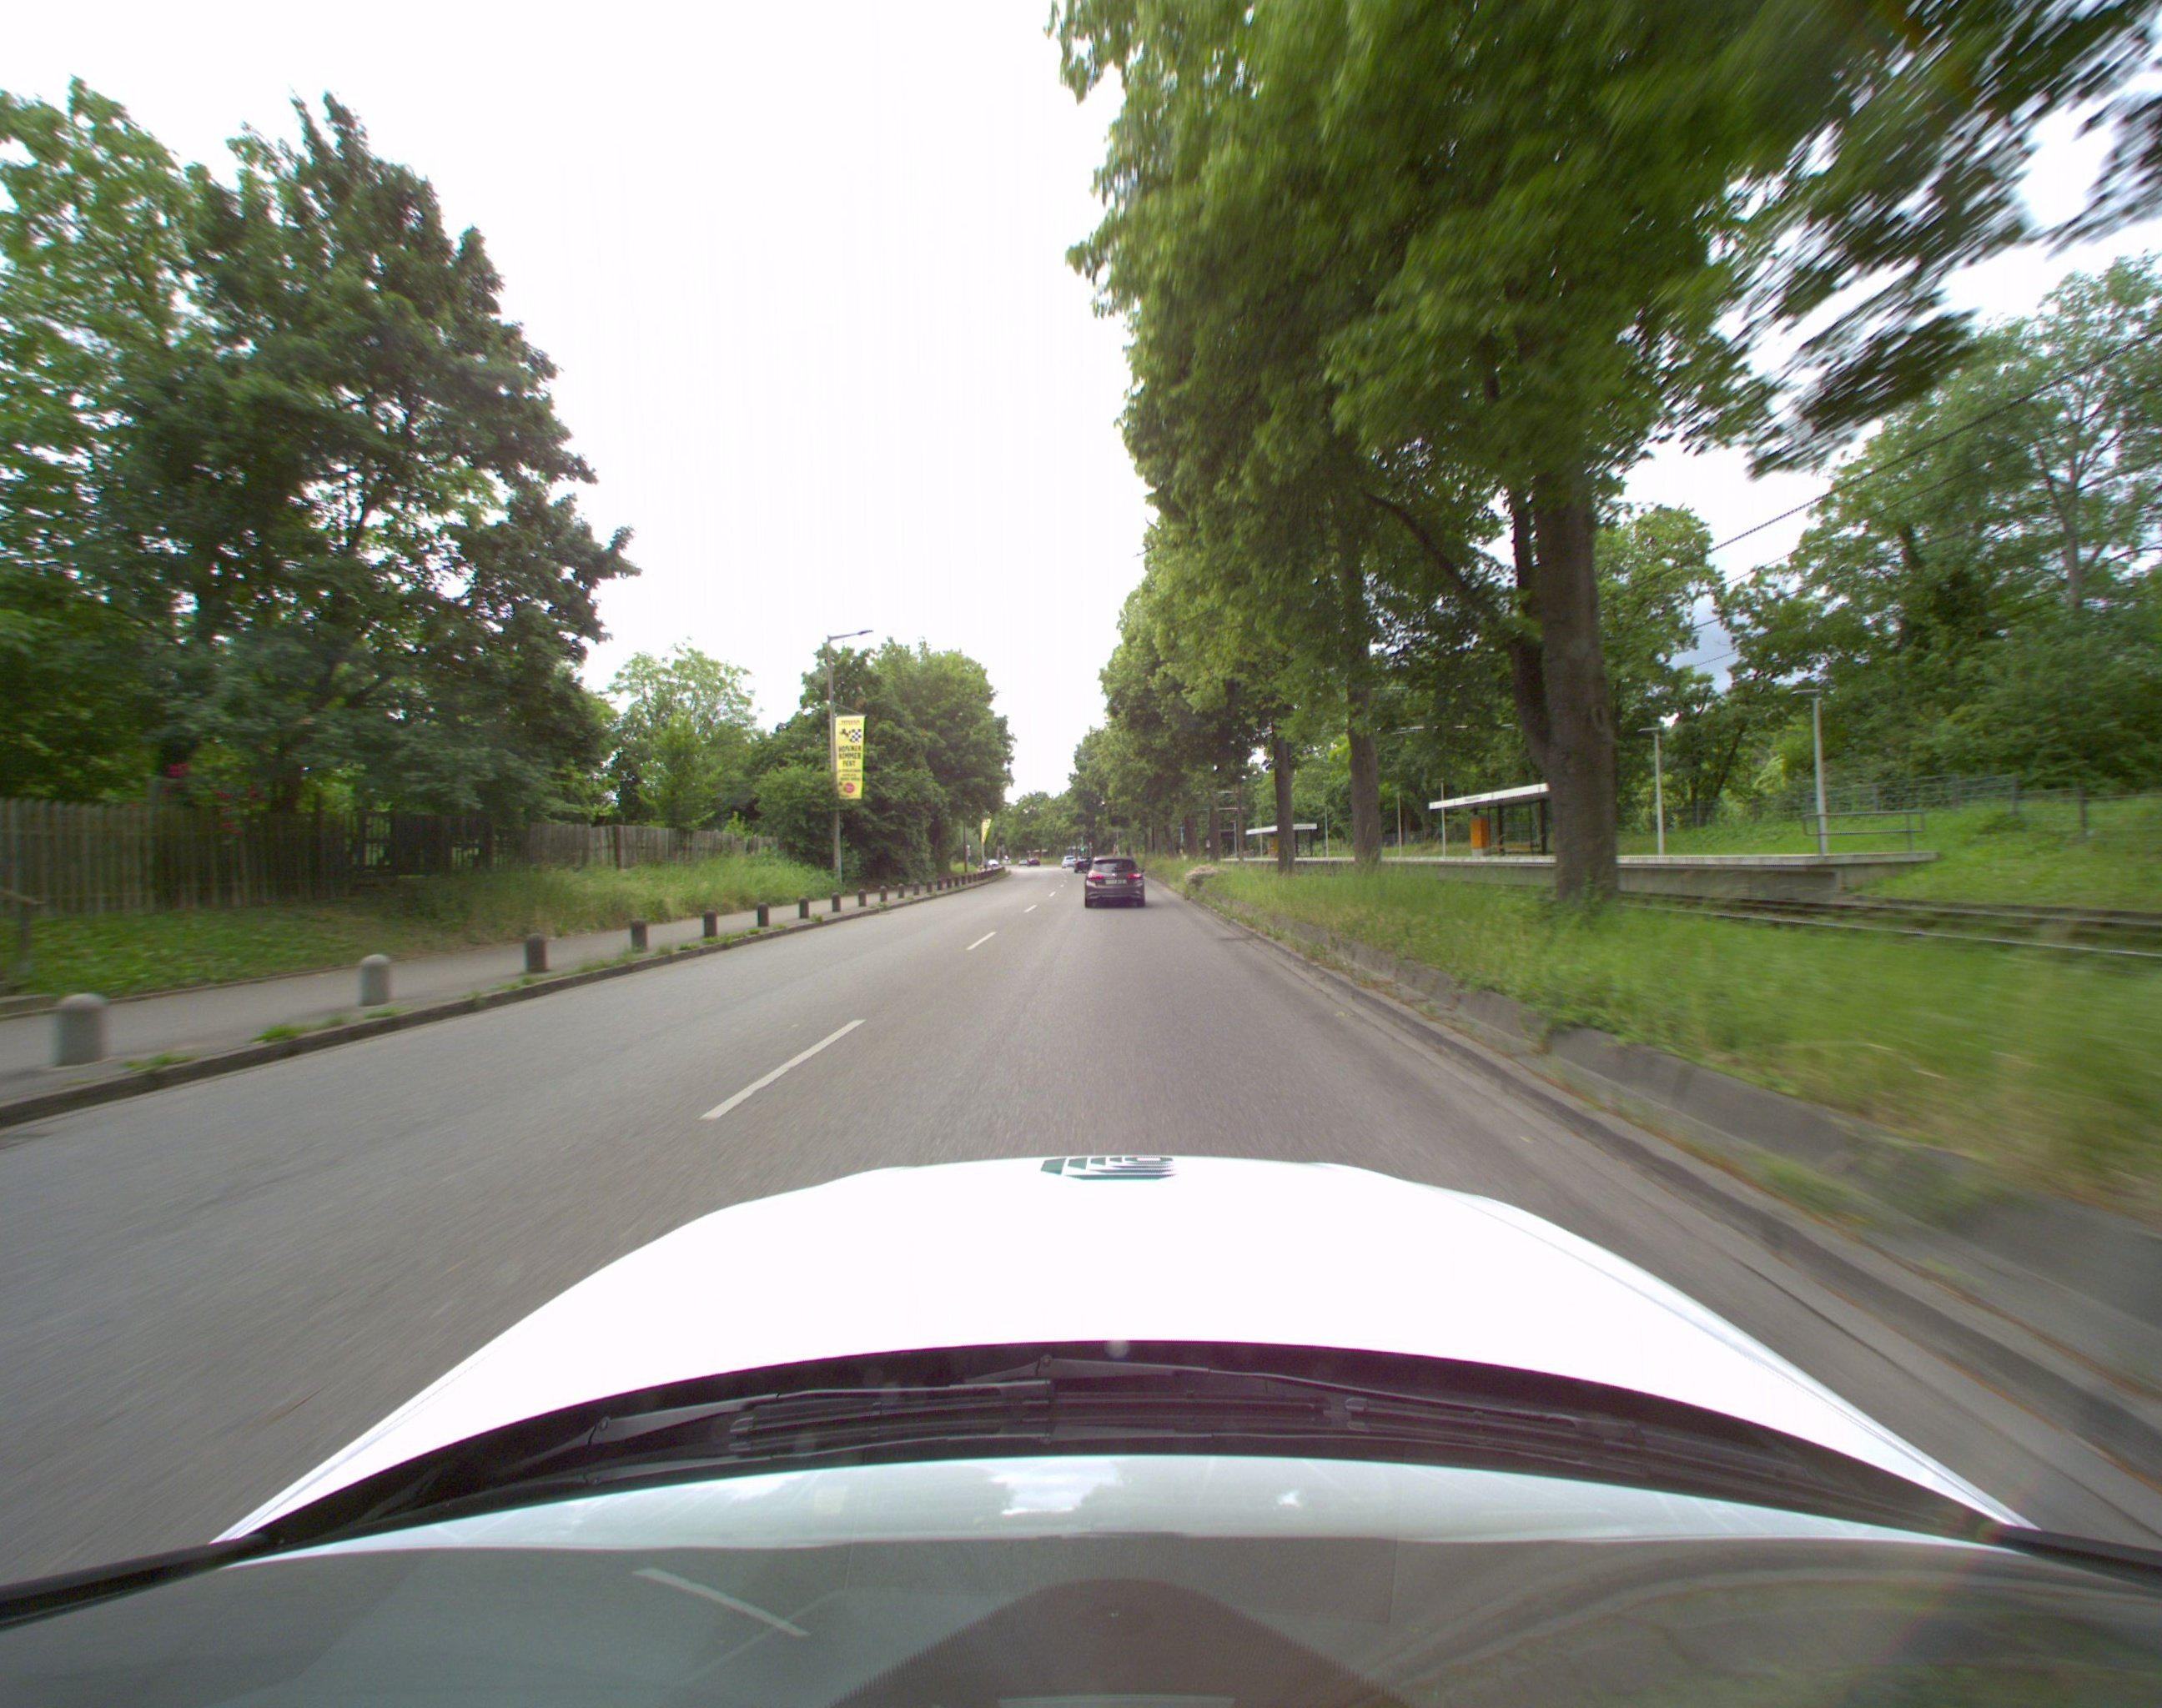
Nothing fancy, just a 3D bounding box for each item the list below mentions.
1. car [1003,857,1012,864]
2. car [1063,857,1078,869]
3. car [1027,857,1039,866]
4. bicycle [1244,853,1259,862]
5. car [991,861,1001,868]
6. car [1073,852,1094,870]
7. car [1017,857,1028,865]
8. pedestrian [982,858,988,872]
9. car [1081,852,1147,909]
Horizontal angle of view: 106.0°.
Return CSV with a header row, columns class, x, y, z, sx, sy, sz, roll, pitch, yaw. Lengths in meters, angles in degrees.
class,x,y,z,sx,sy,sz,roll,pitch,yaw
car,-16.170,1.491,179.264,1.773,1.472,3.992,0,-1,-6
car,-1.398,1.094,103.022,1.771,1.472,3.996,0,-1,-2
car,-8.338,1.330,140.118,1.774,1.472,3.990,-1,0,-7
bicycle,19.210,0.395,91.721,1.507,0.973,0.449,0,-1,-7
car,-17.439,2.166,167.529,1.770,1.439,4.353,-3,0,-5
car,0.261,0.629,71.735,1.769,1.472,4.001,0,-1,1
car,-11.238,1.284,156.108,1.775,1.472,3.988,-1,0,-9
pedestrian,-11.199,1.308,95.159,0.688,1.634,0.837,0,-1,-4
car,1.005,0.748,25.072,1.809,1.508,4.002,-3,1,2
